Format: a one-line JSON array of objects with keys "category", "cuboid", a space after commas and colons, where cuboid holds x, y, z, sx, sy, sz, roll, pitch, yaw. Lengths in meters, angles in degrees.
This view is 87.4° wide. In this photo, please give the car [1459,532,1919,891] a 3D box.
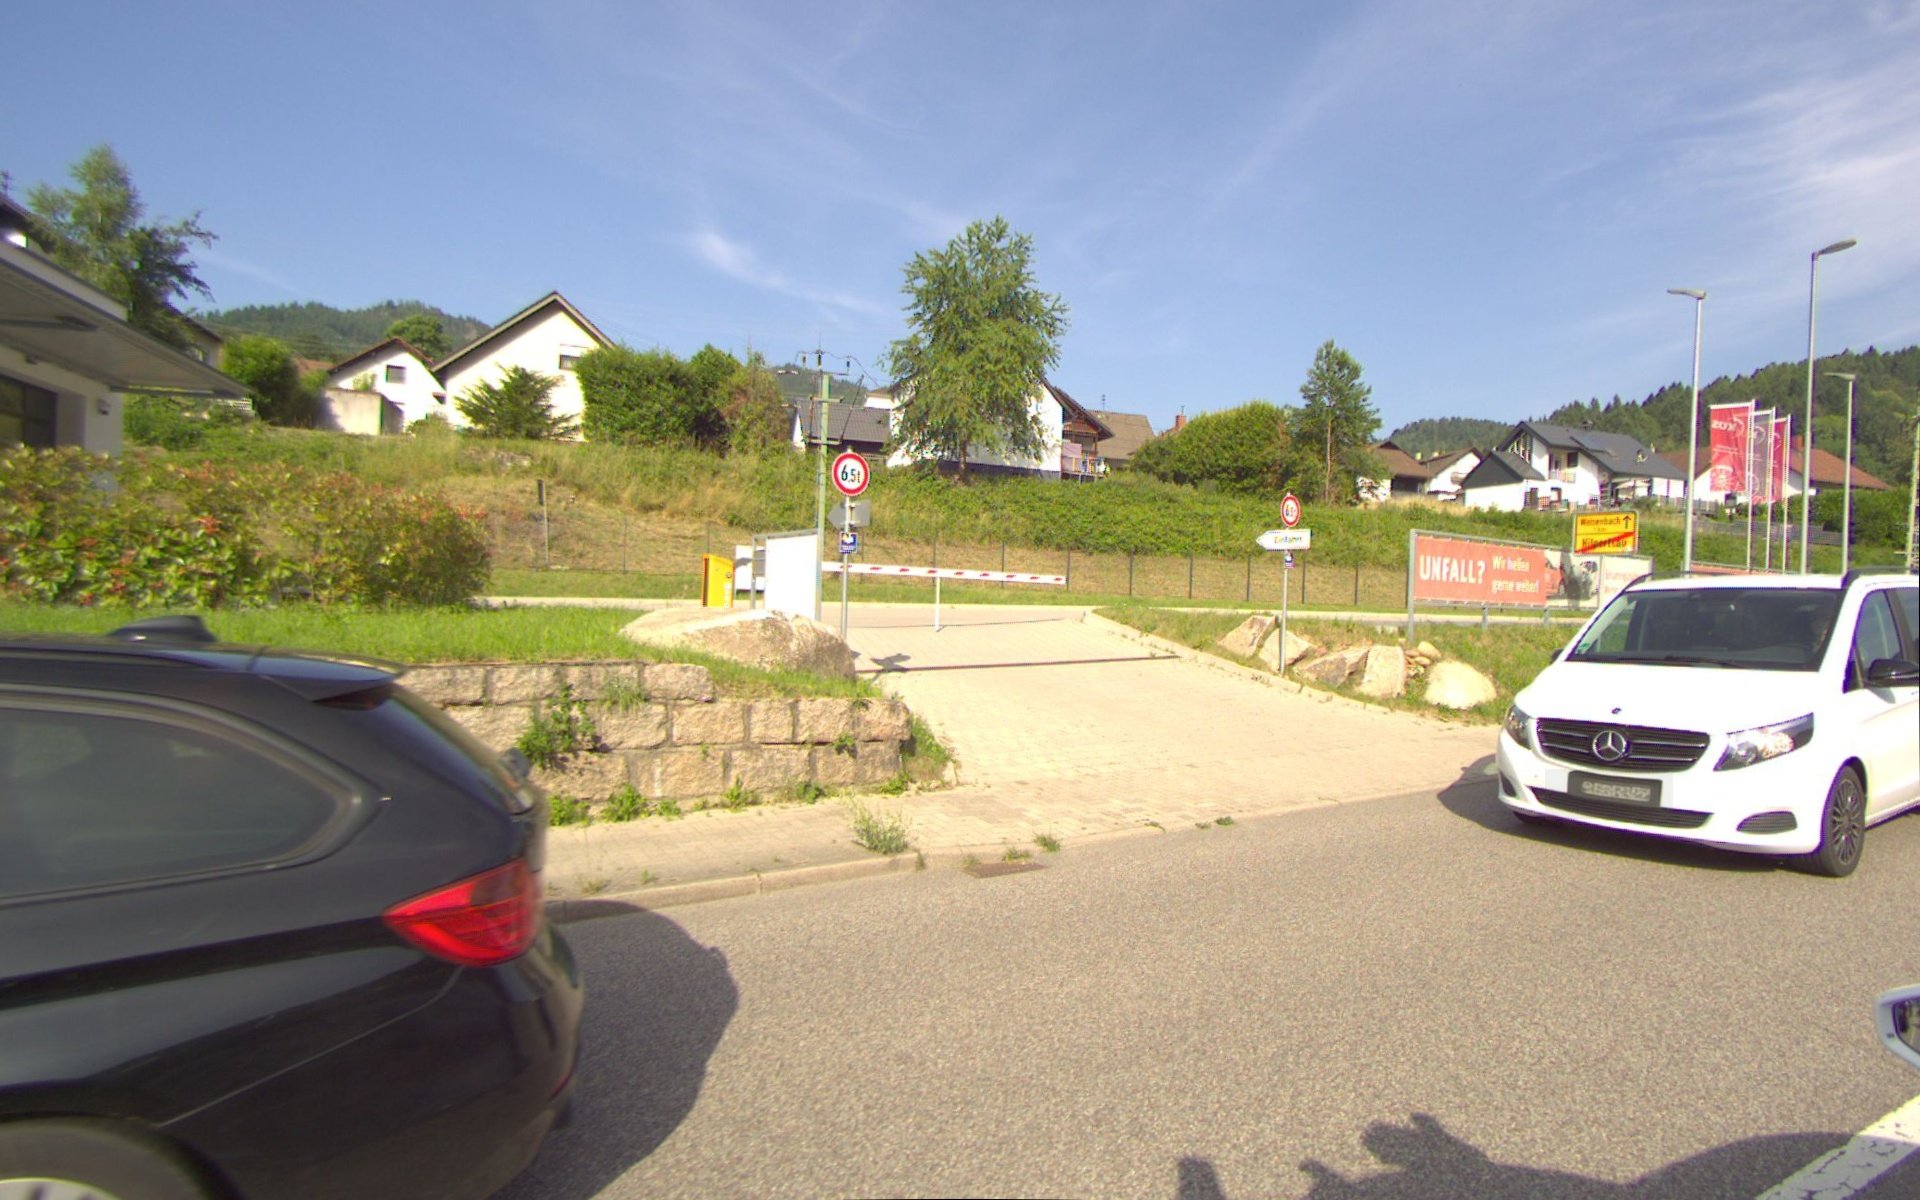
[{"category": "car", "cuboid": [6.156, 0.659, 7.605, 5.239, 1.912, 1.885, 1, -2, -33]}]

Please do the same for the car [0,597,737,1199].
[{"category": "car", "cuboid": [-2.709, 0.721, 1.750, 4.185, 1.418, 1.764, 1, 2, -31]}]
